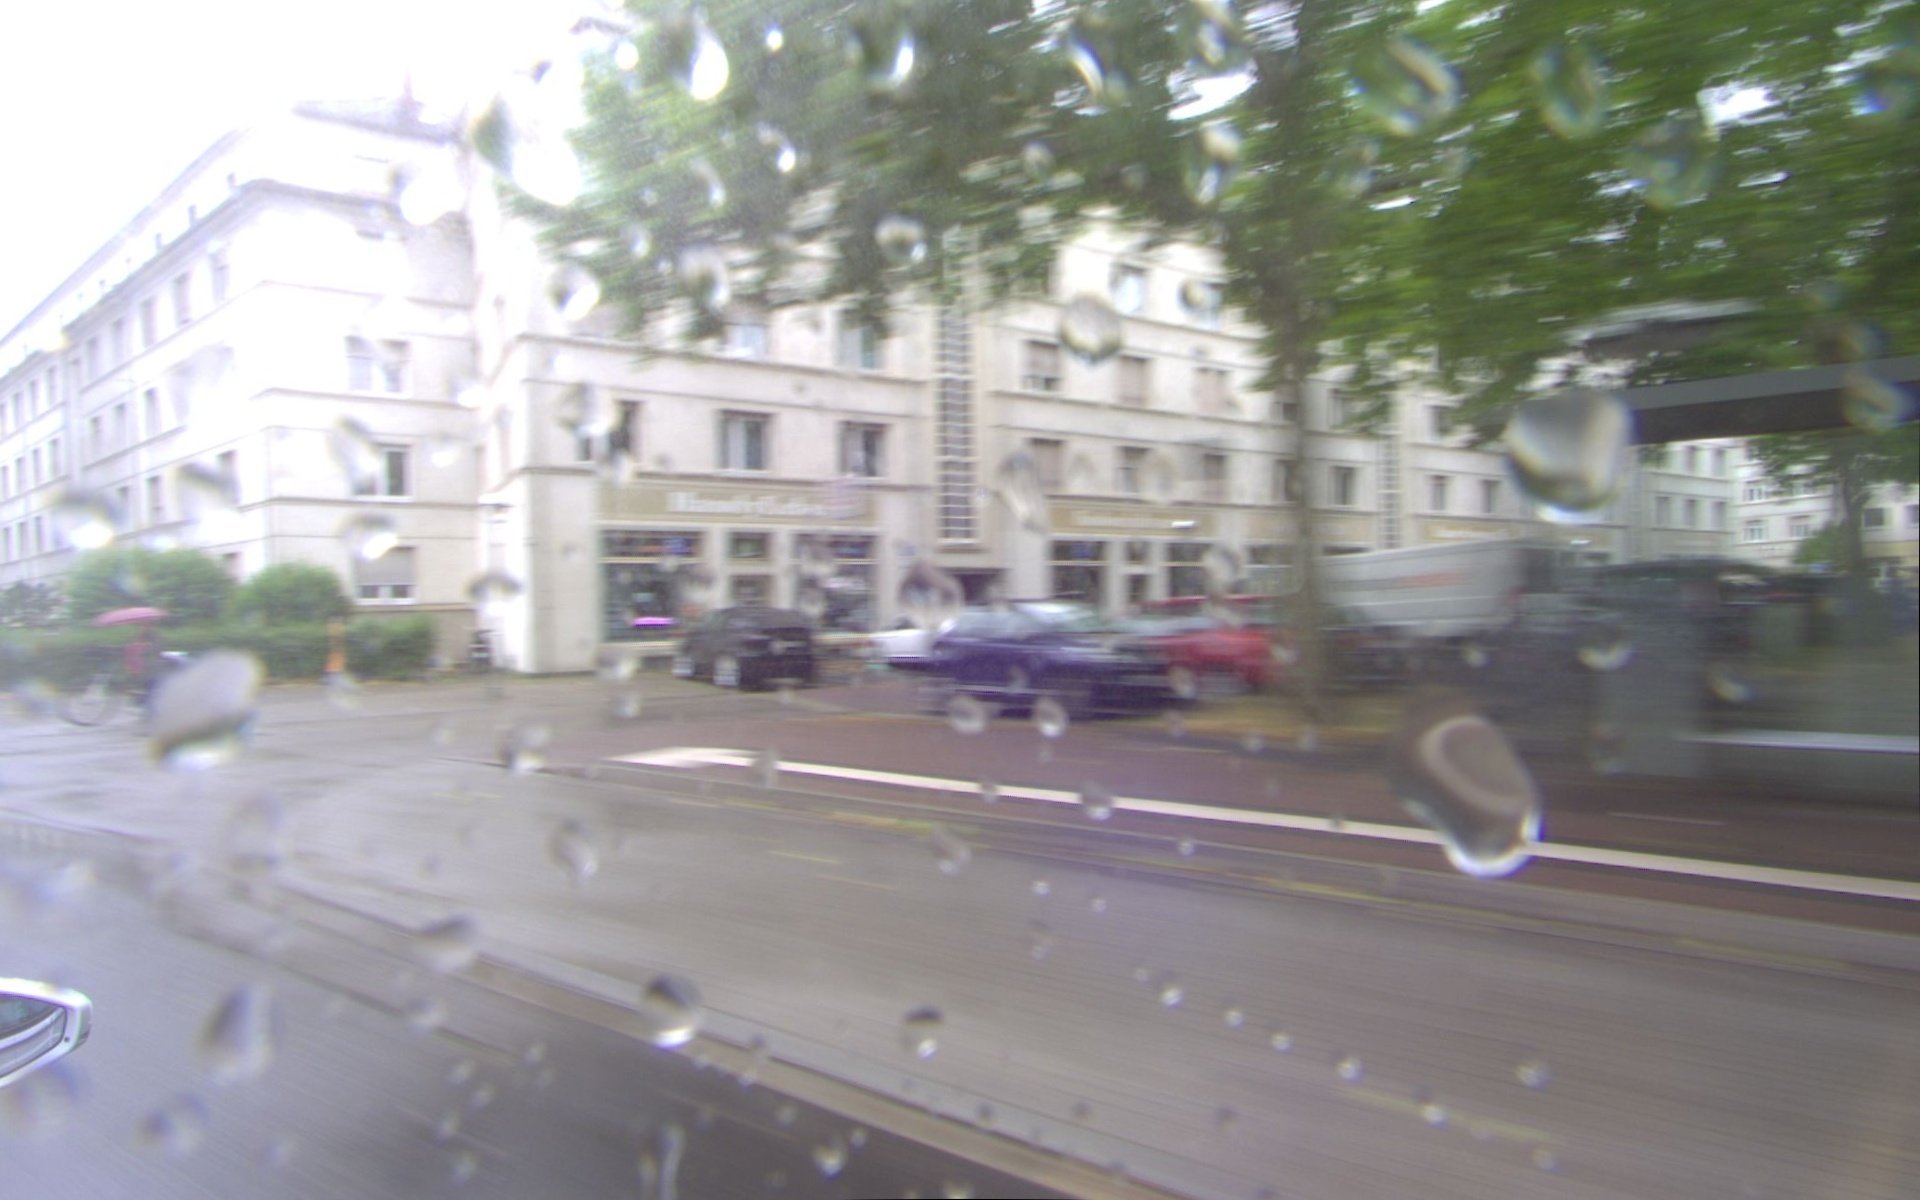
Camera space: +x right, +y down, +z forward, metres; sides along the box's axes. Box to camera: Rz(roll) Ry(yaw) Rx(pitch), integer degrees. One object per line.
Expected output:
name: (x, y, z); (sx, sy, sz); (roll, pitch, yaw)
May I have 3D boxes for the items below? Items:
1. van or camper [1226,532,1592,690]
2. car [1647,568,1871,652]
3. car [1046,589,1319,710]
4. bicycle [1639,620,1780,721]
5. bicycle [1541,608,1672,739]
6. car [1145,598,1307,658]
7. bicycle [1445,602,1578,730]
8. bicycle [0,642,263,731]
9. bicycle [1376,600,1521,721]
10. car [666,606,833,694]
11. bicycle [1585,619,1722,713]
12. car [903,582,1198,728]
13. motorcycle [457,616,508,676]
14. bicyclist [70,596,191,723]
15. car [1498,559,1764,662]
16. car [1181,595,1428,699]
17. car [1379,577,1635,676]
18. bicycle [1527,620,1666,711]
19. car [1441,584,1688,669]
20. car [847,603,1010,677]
van or camper: (7.395, 0.203, 17.228); (2.368, 2.260, 5.406); (-2, -1, -28)
car: (19.997, 0.305, 25.244); (1.813, 1.861, 3.981); (-2, -3, -31)
car: (2.997, 0.707, 13.903); (3.357, 1.475, 1.515); (-5, -3, 45)
bicycle: (8.551, 0.763, 11.381); (2.258, 0.996, 0.542); (-1, 0, -33)
bicycle: (6.629, 0.706, 10.242); (1.744, 1.211, 0.495); (-1, 0, -35)
car: (7.915, 0.869, 30.193); (1.974, 1.648, 4.603); (2, -3, -33)
bicycle: (6.071, 0.683, 10.977); (1.817, 1.274, 0.521); (-1, 0, -35)
bicycle: (-12.851, 1.285, 15.704); (1.035, 1.126, 3.212); (-1, 0, 15)
bicycle: (5.664, 0.658, 11.572); (1.817, 1.274, 0.706); (-1, 0, -35)
car: (-4.617, 1.044, 21.434); (1.974, 1.648, 4.603); (2, -3, -33)
bicycle: (8.252, 0.746, 11.881); (2.228, 0.981, 0.531); (-1, 0, -33)
car: (1.022, 0.693, 12.656); (1.675, 1.570, 3.495); (-2, -3, -40)
motorcycle: (-12.055, 1.129, 25.213); (0.866, 1.410, 2.989); (-2, 0, -31)
bicyclist: (-12.851, 0.899, 15.539); (1.122, 1.893, 0.940); (-1, 0, 16)
car: (13.695, 0.277, 20.671); (2.131, 1.861, 3.981); (-2, -3, -31)
car: (5.097, 0.722, 15.161); (1.565, 1.353, 3.246); (-2, -2, -32)
car: (9.806, 0.491, 18.182); (1.663, 1.595, 3.712); (-1, -1, -35)
bicycle: (7.918, 0.779, 12.420); (2.223, 0.981, 0.581); (-1, 0, -33)
car: (11.613, 0.568, 19.484); (1.660, 1.449, 3.720); (-2, -3, -30)
car: (-0.901, 0.993, 24.963); (1.974, 1.648, 4.603); (2, -3, -33)
